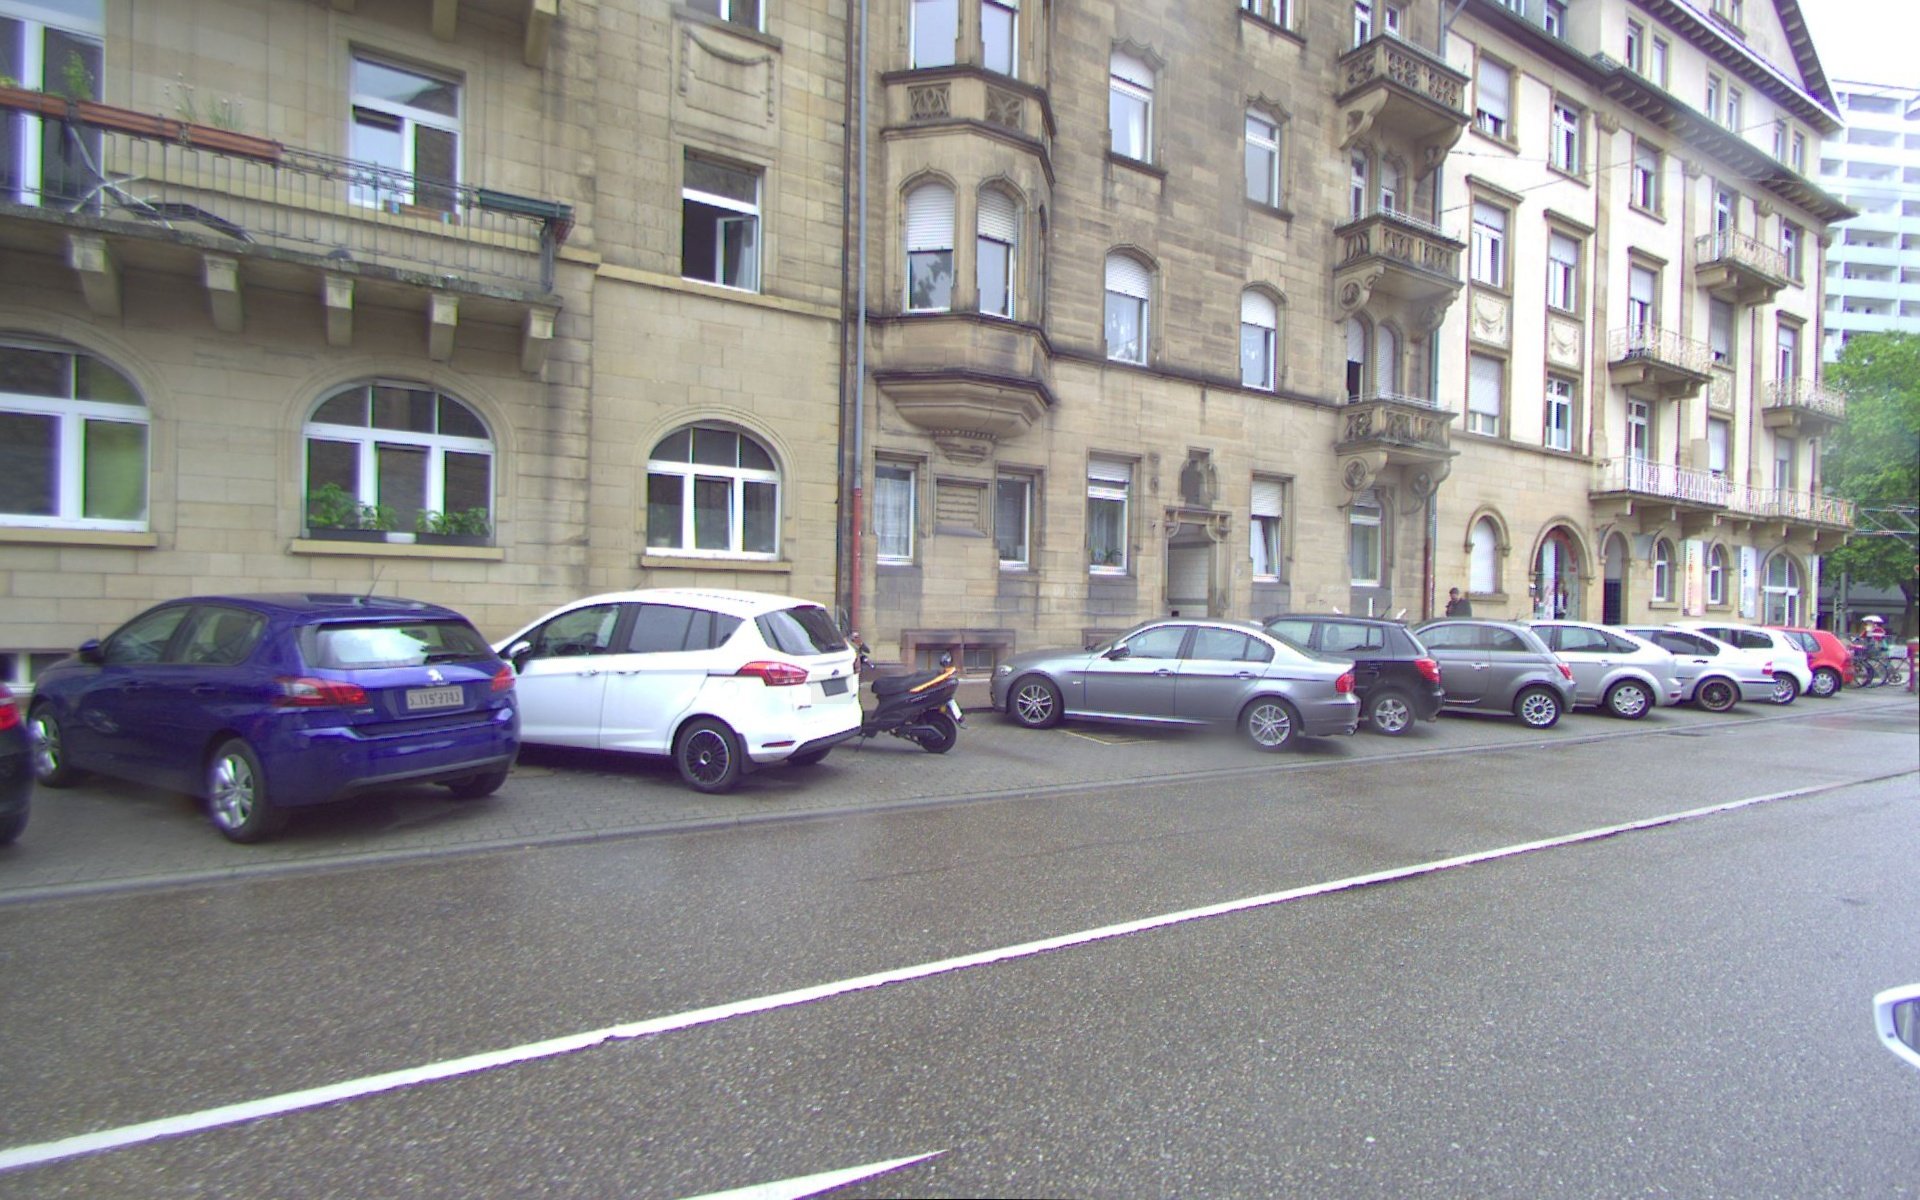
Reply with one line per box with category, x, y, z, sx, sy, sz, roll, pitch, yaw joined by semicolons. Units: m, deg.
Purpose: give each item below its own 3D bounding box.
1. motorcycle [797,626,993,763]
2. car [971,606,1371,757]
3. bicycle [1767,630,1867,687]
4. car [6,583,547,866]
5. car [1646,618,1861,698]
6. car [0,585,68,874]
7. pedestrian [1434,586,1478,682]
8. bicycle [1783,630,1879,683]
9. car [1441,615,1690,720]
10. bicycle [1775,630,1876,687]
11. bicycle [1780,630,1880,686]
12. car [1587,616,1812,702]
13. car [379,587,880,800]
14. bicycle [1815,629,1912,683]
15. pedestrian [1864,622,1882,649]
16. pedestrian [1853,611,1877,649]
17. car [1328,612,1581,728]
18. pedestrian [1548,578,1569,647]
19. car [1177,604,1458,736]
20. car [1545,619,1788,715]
motorcycle;-0.660;0.907;10.129;1.836;1.177;0.634;3;0;23
car;2.512;0.888;12.244;4.457;1.565;1.689;1;-1;17
bicycle;20.527;1.389;24.099;0.516;1.283;1.754;1;-1;-31
car;-5.140;0.716;7.458;3.972;1.594;1.795;0;-1;31
car;17.340;1.229;22.135;3.336;1.578;1.705;1;0;21
car;-7.094;0.668;5.785;3.972;1.532;1.795;0;-1;31
pedestrian;10.773;0.724;21.814;0.647;2.040;0.565;1;0;-31
bicycle;22.212;1.418;25.651;0.601;1.283;1.754;1;-1;-31
car;10.105;1.081;17.051;3.336;1.578;1.705;1;0;21
bicycle;20.980;1.392;24.395;0.493;1.283;1.801;1;-1;-31
bicycle;21.494;1.414;24.858;0.493;1.283;1.801;1;-1;-31
car;14.912;1.147;20.468;3.336;1.578;1.705;1;0;21
car;-2.902;0.704;8.982;3.964;1.576;1.799;0;-1;19
bicycle;23.148;1.413;25.762;0.601;1.283;1.754;1;-1;-31
pedestrian;53.183;2.085;58.511;0.631;1.550;0.443;1;0;-5
pedestrian;45.089;1.497;50.047;0.683;1.850;0.618;1;-1;-17
car;7.495;1.007;15.561;3.336;1.578;1.652;1;0;21
pedestrian;16.046;0.337;26.947;0.343;1.846;0.364;2;-1;-33
car;4.933;0.899;14.067;3.484;1.619;1.605;1;0;21
car;12.933;1.167;18.620;3.336;1.578;1.705;1;0;21
